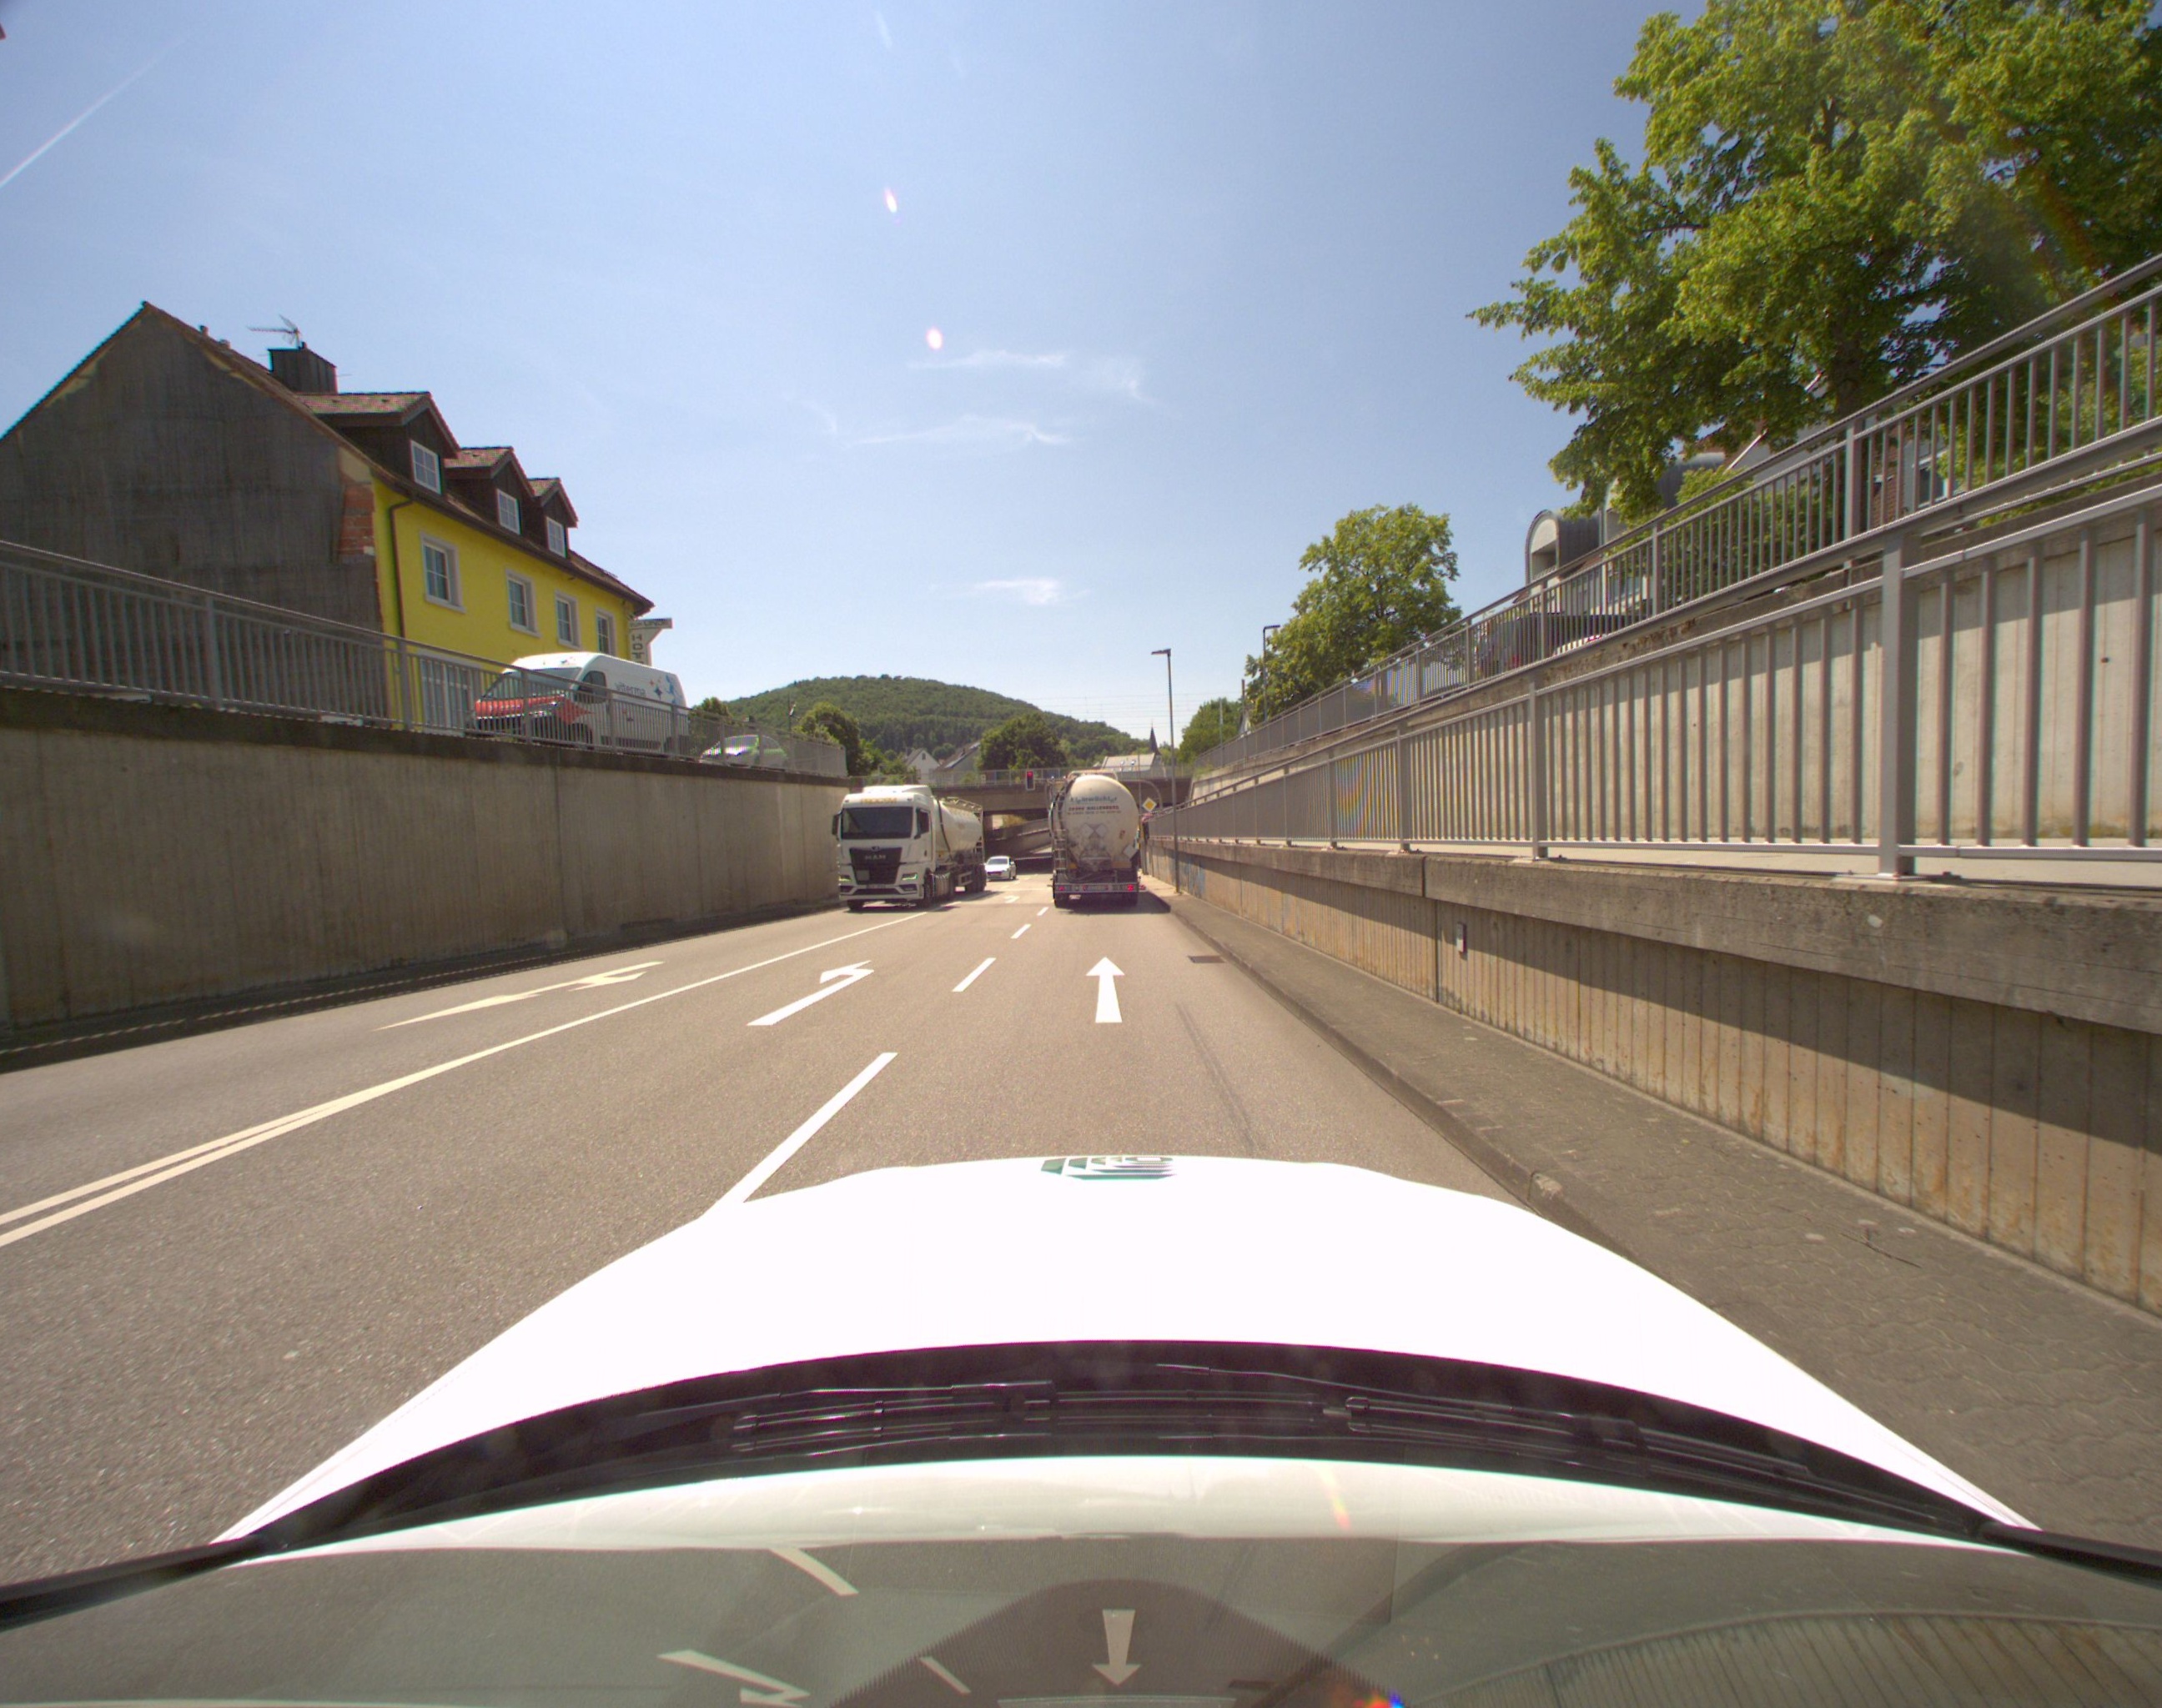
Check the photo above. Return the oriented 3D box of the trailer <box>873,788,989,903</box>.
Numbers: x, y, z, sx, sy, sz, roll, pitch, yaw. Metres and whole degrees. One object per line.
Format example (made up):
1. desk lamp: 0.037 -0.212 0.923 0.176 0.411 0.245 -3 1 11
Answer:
1. trailer: -5.800 -0.283 33.195 2.600 3.964 9.350 -1 0 2

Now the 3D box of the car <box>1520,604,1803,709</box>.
1. car: 10.344 -3.514 14.721 3.890 1.367 1.687 -2 3 2

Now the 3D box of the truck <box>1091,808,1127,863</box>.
1. truck: 2.824 -1.781 79.247 3.067 4.999 10.093 -1 1 4

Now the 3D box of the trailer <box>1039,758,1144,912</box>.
1. trailer: 0.615 -0.473 28.464 2.724 4.064 13.322 -1 0 3

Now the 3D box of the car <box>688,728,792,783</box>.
1. car: -11.039 -3.169 26.654 1.613 1.500 4.046 -1 3 0

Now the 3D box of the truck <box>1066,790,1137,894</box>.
1. truck: 0.975 -0.461 35.371 2.724 4.064 6.534 -1 0 3

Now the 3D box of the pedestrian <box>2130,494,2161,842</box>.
1. pedestrian: 5.966 -0.965 3.894 0.833 1.782 0.789 -2 0 1

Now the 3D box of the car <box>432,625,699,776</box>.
1. car: -10.931 -3.124 18.002 2.057 2.535 5.665 -1 3 2

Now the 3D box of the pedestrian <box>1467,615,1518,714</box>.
1. pedestrian: 8.065 -3.691 15.973 0.670 1.779 0.595 -2 2 3

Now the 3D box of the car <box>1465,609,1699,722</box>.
1. car: 10.428 -3.903 17.154 3.890 1.884 1.687 -2 3 2

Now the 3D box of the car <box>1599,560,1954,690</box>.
1. car: 10.294 -3.381 12.281 3.890 1.367 1.687 -2 3 2

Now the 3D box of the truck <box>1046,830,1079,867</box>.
1. truck: -1.886 -0.597 84.416 2.677 3.663 7.377 -1 0 4

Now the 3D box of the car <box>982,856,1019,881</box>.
1. car: -4.941 0.861 50.513 1.676 1.440 4.096 -1 0 2

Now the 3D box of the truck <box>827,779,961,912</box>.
1. truck: -6.003 -0.241 27.261 2.652 3.860 6.583 -1 0 2
